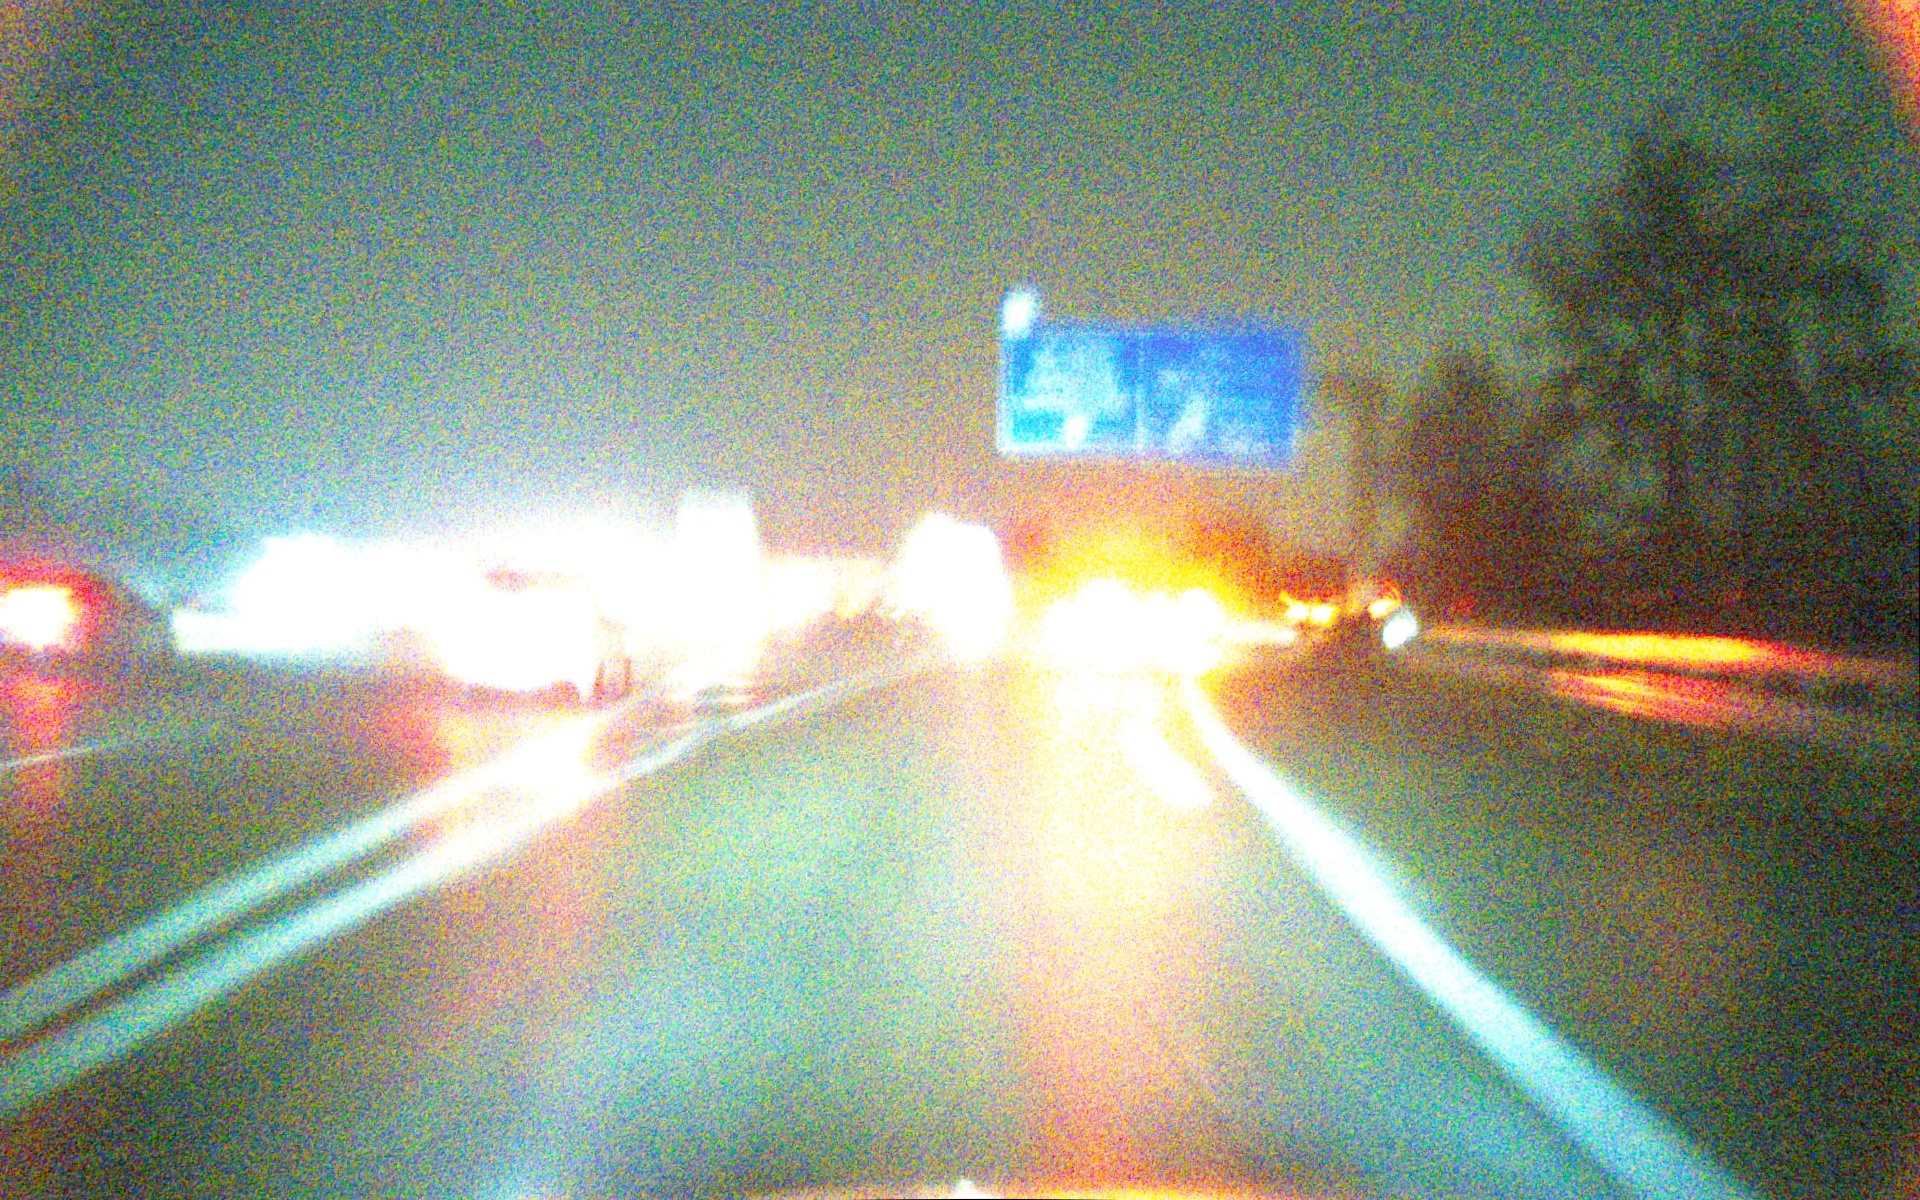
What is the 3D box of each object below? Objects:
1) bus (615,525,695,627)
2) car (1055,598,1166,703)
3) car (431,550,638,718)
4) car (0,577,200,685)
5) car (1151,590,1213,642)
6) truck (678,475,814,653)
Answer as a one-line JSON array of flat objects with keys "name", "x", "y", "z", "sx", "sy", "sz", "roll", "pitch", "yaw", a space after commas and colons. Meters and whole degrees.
[{"name": "bus", "x": -14.780, "y": -1.105, "z": 80.859, "sx": 3.038, "sy": 4.586, "sz": 10.896, "roll": 2, "pitch": 0, "yaw": -7}, {"name": "car", "x": 2.903, "y": 0.914, "z": 31.852, "sx": 1.951, "sy": 1.839, "sz": 4.002, "roll": 2, "pitch": 0, "yaw": 5}, {"name": "car", "x": -5.790, "y": 0.425, "z": 23.105, "sx": 2.085, "sy": 2.049, "sz": 4.639, "roll": 2, "pitch": 0, "yaw": -6}, {"name": "car", "x": -14.061, "y": 0.423, "z": 26.114, "sx": 1.954, "sy": 1.502, "sz": 5.161, "roll": 2, "pitch": 0, "yaw": -4}, {"name": "car", "x": 8.429, "y": 0.594, "z": 62.626, "sx": 1.951, "sy": 1.839, "sz": 4.003, "roll": 2, "pitch": 0, "yaw": 12}, {"name": "truck", "x": -7.555, "y": -1.191, "z": 60.315, "sx": 4.128, "sy": 5.747, "sz": 11.457, "roll": 2, "pitch": 0, "yaw": -4}]
